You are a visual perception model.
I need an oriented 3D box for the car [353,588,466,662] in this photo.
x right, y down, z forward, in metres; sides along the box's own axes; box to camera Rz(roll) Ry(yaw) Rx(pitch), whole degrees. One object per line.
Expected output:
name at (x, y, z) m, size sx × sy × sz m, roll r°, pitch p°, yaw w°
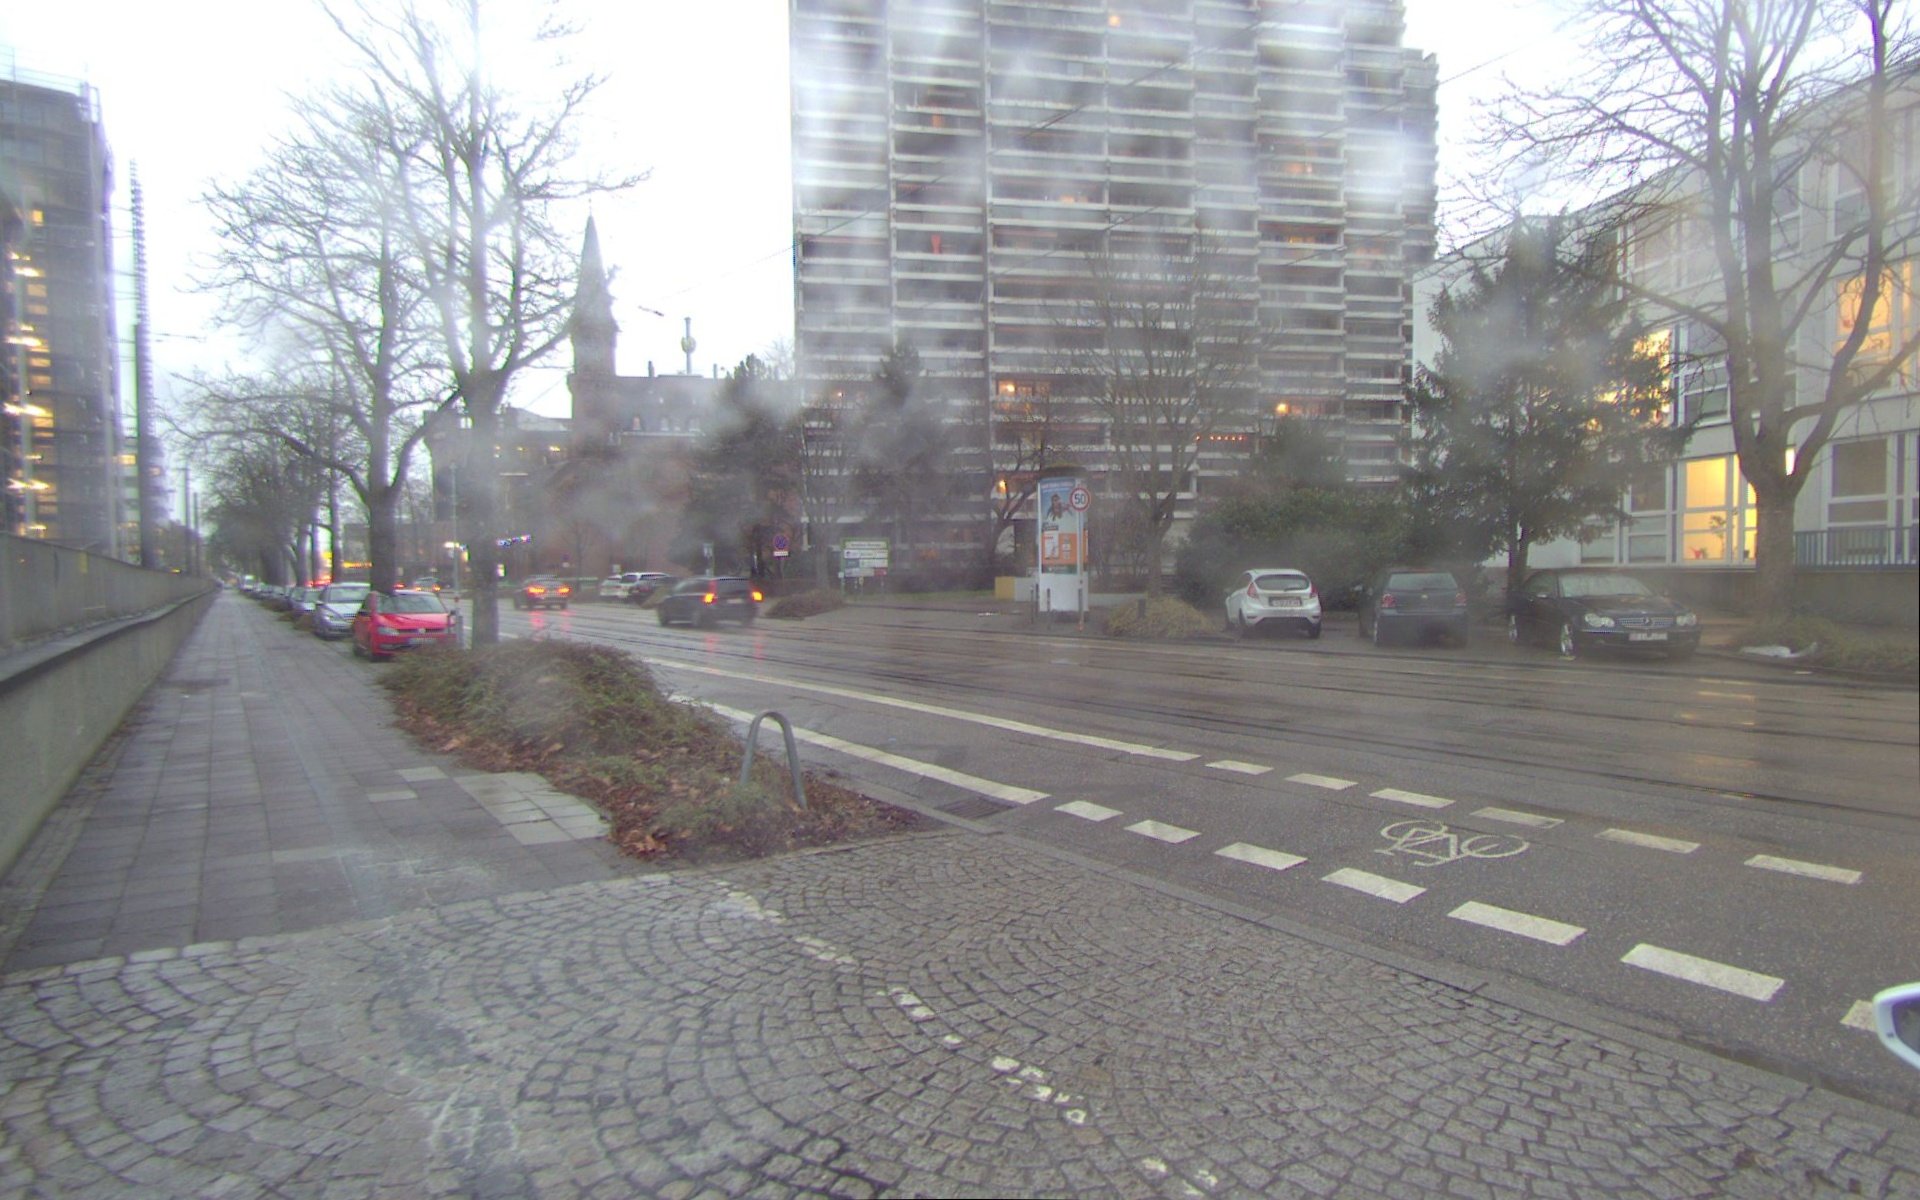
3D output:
car at (-11.792, 0.481, 21.401) m, size 1.736 × 1.406 × 3.700 m, roll -1°, pitch 1°, yaw -35°

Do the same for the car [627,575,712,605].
car at (-15.152, -0.543, 52.414) m, size 3.954 × 1.506 × 1.658 m, roll -1°, pitch 1°, yaw -31°

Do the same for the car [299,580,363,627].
car at (-23.272, 0.120, 37.101) m, size 1.848 × 1.615 × 3.962 m, roll -1°, pitch 1°, yaw -34°

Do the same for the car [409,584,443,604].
car at (-41.371, -0.463, 77.792) m, size 1.750 × 1.430 × 3.959 m, roll -1°, pitch 1°, yaw -36°

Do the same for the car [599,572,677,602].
car at (-18.625, -0.763, 58.121) m, size 3.954 × 1.662 × 1.983 m, roll -1°, pitch 1°, yaw -31°

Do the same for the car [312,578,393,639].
car at (-17.240, 0.210, 28.423) m, size 1.736 × 1.605 × 3.700 m, roll -1°, pitch 1°, yaw -35°

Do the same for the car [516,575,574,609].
car at (-20.454, -0.378, 49.435) m, size 1.695 × 1.600 × 4.336 m, roll -1°, pitch 1°, yaw -35°

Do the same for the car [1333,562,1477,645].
car at (8.787, 0.040, 20.173) m, size 1.818 × 1.482 × 4.002 m, roll -1°, pitch 1°, yaw 12°

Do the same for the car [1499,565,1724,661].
car at (10.682, 0.169, 16.836) m, size 1.818 × 1.397 × 4.002 m, roll -1°, pitch 1°, yaw 12°

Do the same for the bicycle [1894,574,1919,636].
bicycle at (18.521, 0.072, 18.656) m, size 2.168 × 1.136 × 0.640 m, roll -1°, pitch 1°, yaw -14°

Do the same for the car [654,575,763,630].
car at (-7.806, 0.059, 30.896) m, size 1.737 × 1.565 × 4.249 m, roll -1°, pitch 1°, yaw -37°

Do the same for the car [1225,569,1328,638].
car at (7.109, 0.046, 22.923) m, size 1.818 × 1.418 × 4.002 m, roll -1°, pitch 1°, yaw 12°

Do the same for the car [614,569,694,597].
car at (-16.889, -0.945, 55.470) m, size 3.954 × 1.506 × 1.658 m, roll -1°, pitch 1°, yaw -31°

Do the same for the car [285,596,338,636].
car at (-28.481, 0.658, 44.054) m, size 1.848 × 1.615 × 3.962 m, roll -1°, pitch 1°, yaw -34°

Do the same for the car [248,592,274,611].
car at (-60.315, 0.120, 86.732) m, size 1.736 × 1.605 × 3.700 m, roll -1°, pitch 1°, yaw -35°
